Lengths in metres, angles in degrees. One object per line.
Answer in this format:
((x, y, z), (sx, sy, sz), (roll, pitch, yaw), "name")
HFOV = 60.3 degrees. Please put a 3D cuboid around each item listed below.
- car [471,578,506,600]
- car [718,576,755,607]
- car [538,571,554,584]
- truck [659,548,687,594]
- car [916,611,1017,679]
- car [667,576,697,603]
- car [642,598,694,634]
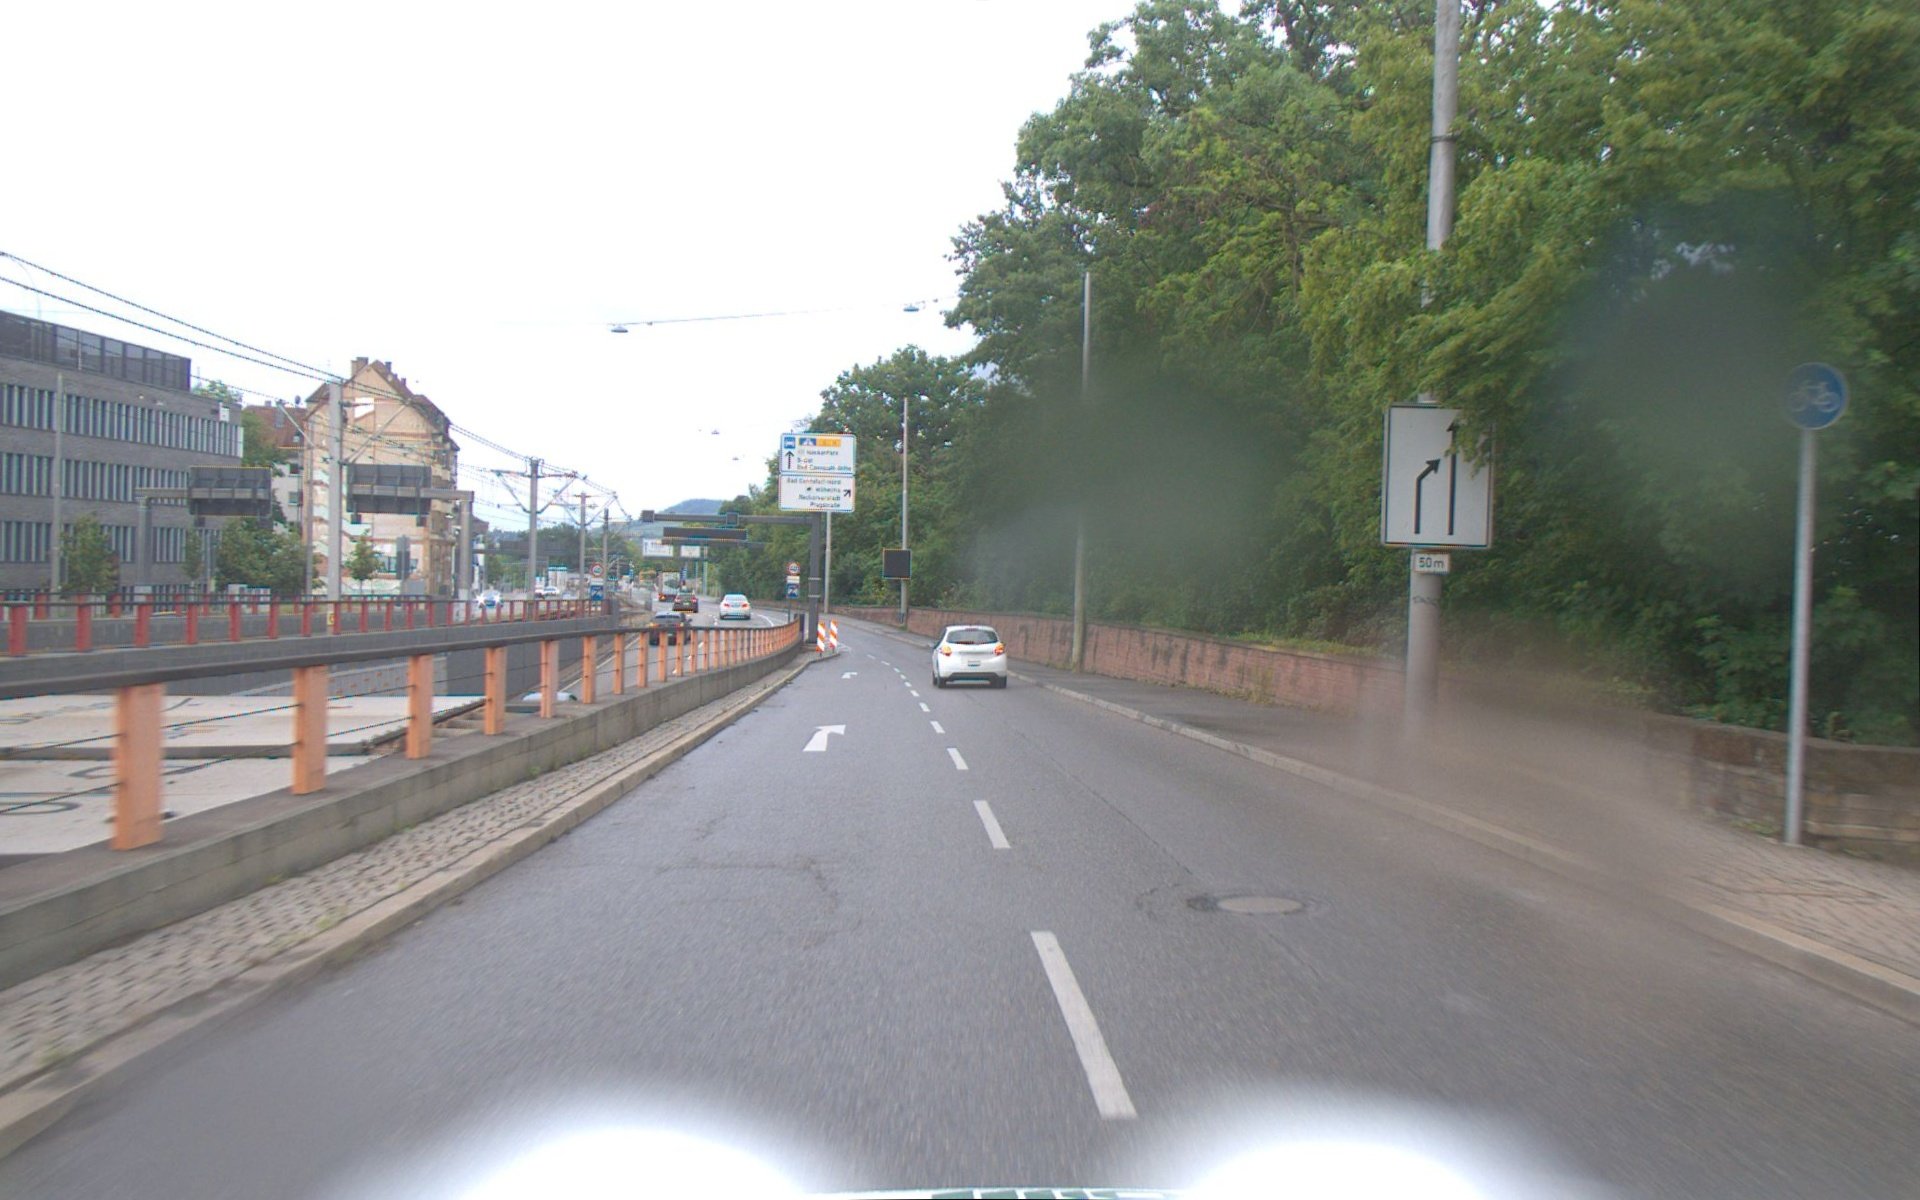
((-38.409, -0.894, 134.696), (1.788, 1.612, 3.831), (2, 2, -1), "car")
((-13.713, -0.525, 101.432), (2.044, 1.905, 4.085), (0, 0, -11), "car")
((-57.880, -3.156, 231.324), (1.791, 1.612, 3.824), (1, 2, -9), "car")
((-39.066, -3.875, 224.996), (3.402, 5.496, 12.019), (2, -2, -10), "truck")
((0.105, 1.126, 40.605), (1.918, 1.514, 3.992), (2, -2, -8), "car")
((-20.150, -0.785, 119.857), (1.958, 1.905, 3.988), (0, 0, -12), "car")
((-13.556, 0.718, 77.023), (1.954, 1.603, 3.997), (0, 0, -4), "car")
